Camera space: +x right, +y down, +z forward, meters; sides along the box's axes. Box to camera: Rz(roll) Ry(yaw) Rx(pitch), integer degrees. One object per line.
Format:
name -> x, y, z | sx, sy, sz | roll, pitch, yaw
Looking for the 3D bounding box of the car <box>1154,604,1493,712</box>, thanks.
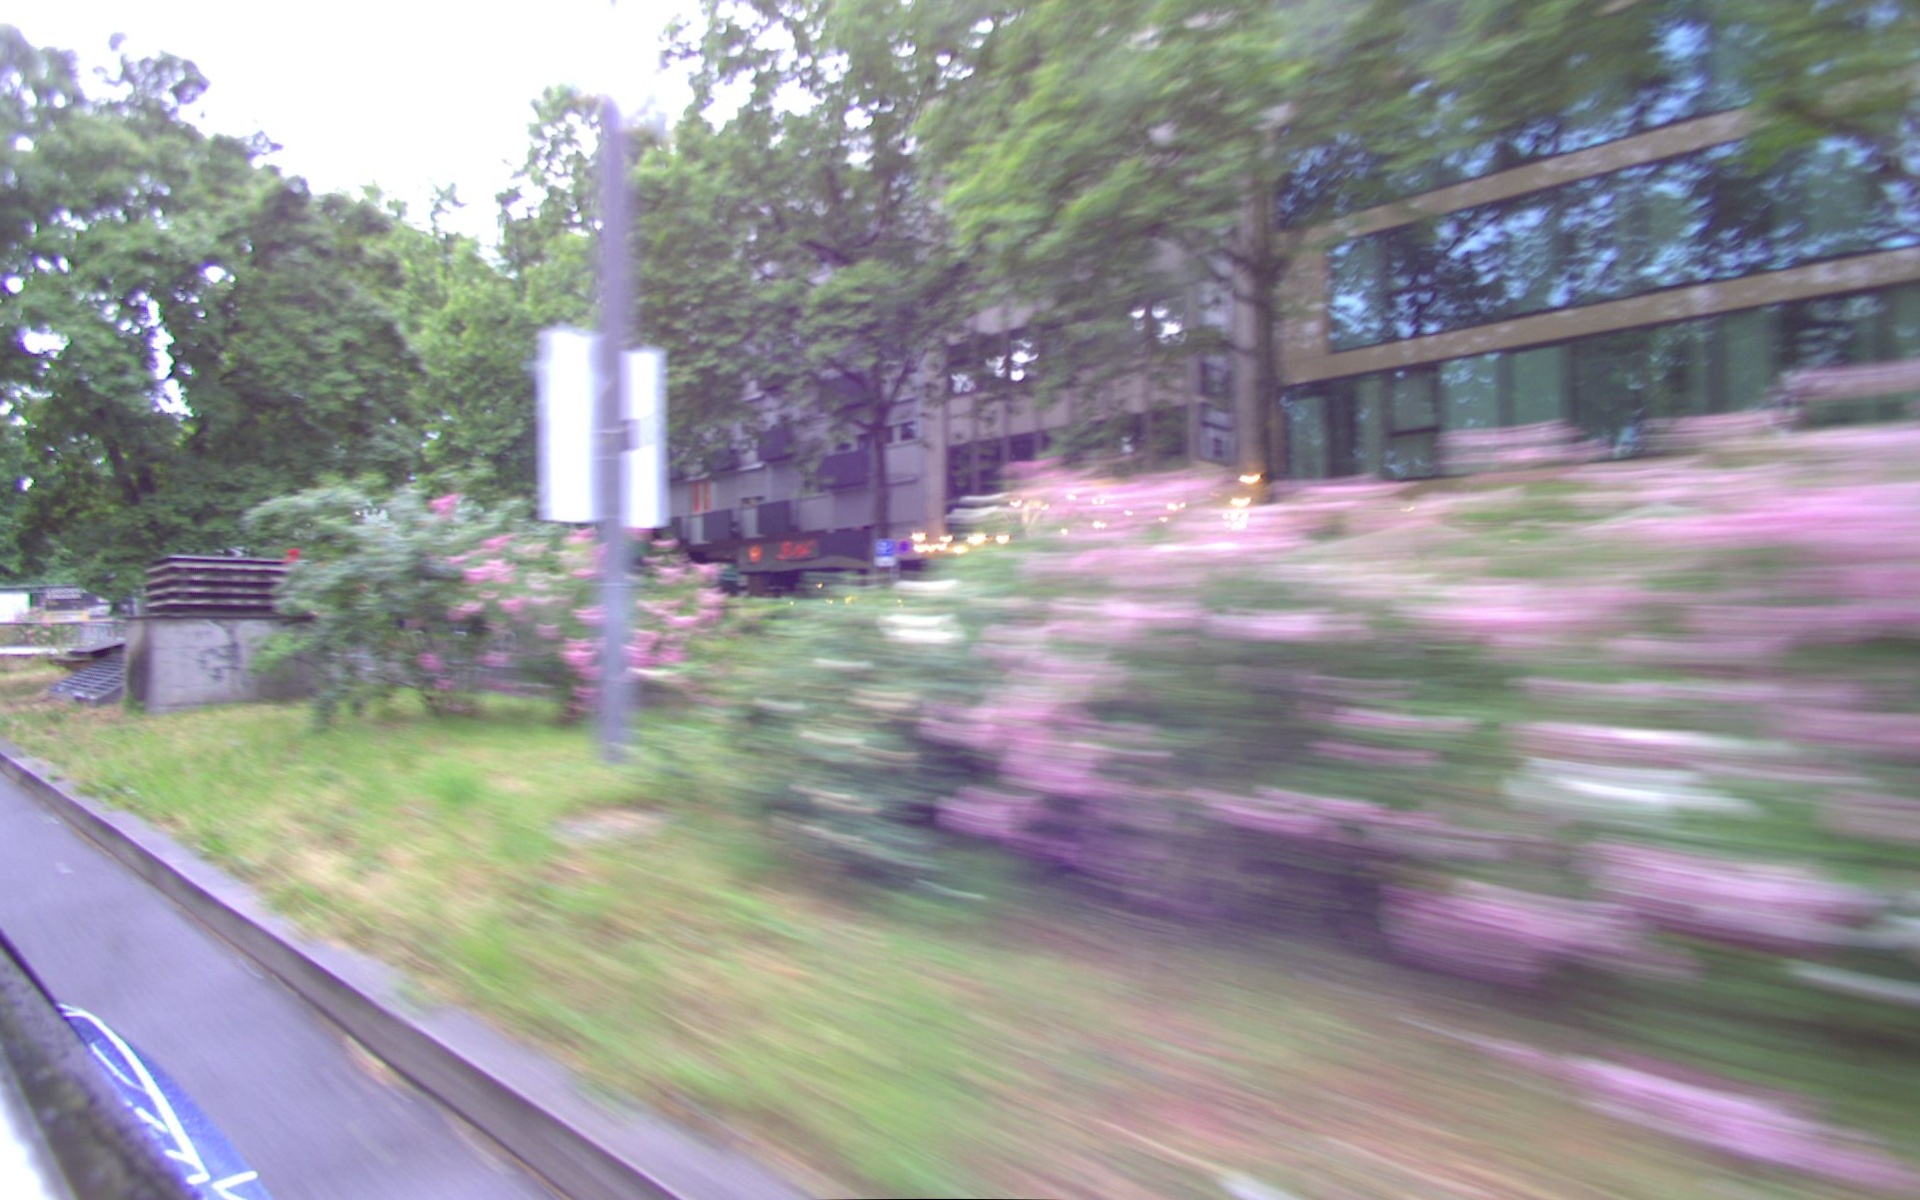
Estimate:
car -> 5.527, 0.824, 15.727 | 4.537, 1.380, 1.973 | -2, 1, 41
